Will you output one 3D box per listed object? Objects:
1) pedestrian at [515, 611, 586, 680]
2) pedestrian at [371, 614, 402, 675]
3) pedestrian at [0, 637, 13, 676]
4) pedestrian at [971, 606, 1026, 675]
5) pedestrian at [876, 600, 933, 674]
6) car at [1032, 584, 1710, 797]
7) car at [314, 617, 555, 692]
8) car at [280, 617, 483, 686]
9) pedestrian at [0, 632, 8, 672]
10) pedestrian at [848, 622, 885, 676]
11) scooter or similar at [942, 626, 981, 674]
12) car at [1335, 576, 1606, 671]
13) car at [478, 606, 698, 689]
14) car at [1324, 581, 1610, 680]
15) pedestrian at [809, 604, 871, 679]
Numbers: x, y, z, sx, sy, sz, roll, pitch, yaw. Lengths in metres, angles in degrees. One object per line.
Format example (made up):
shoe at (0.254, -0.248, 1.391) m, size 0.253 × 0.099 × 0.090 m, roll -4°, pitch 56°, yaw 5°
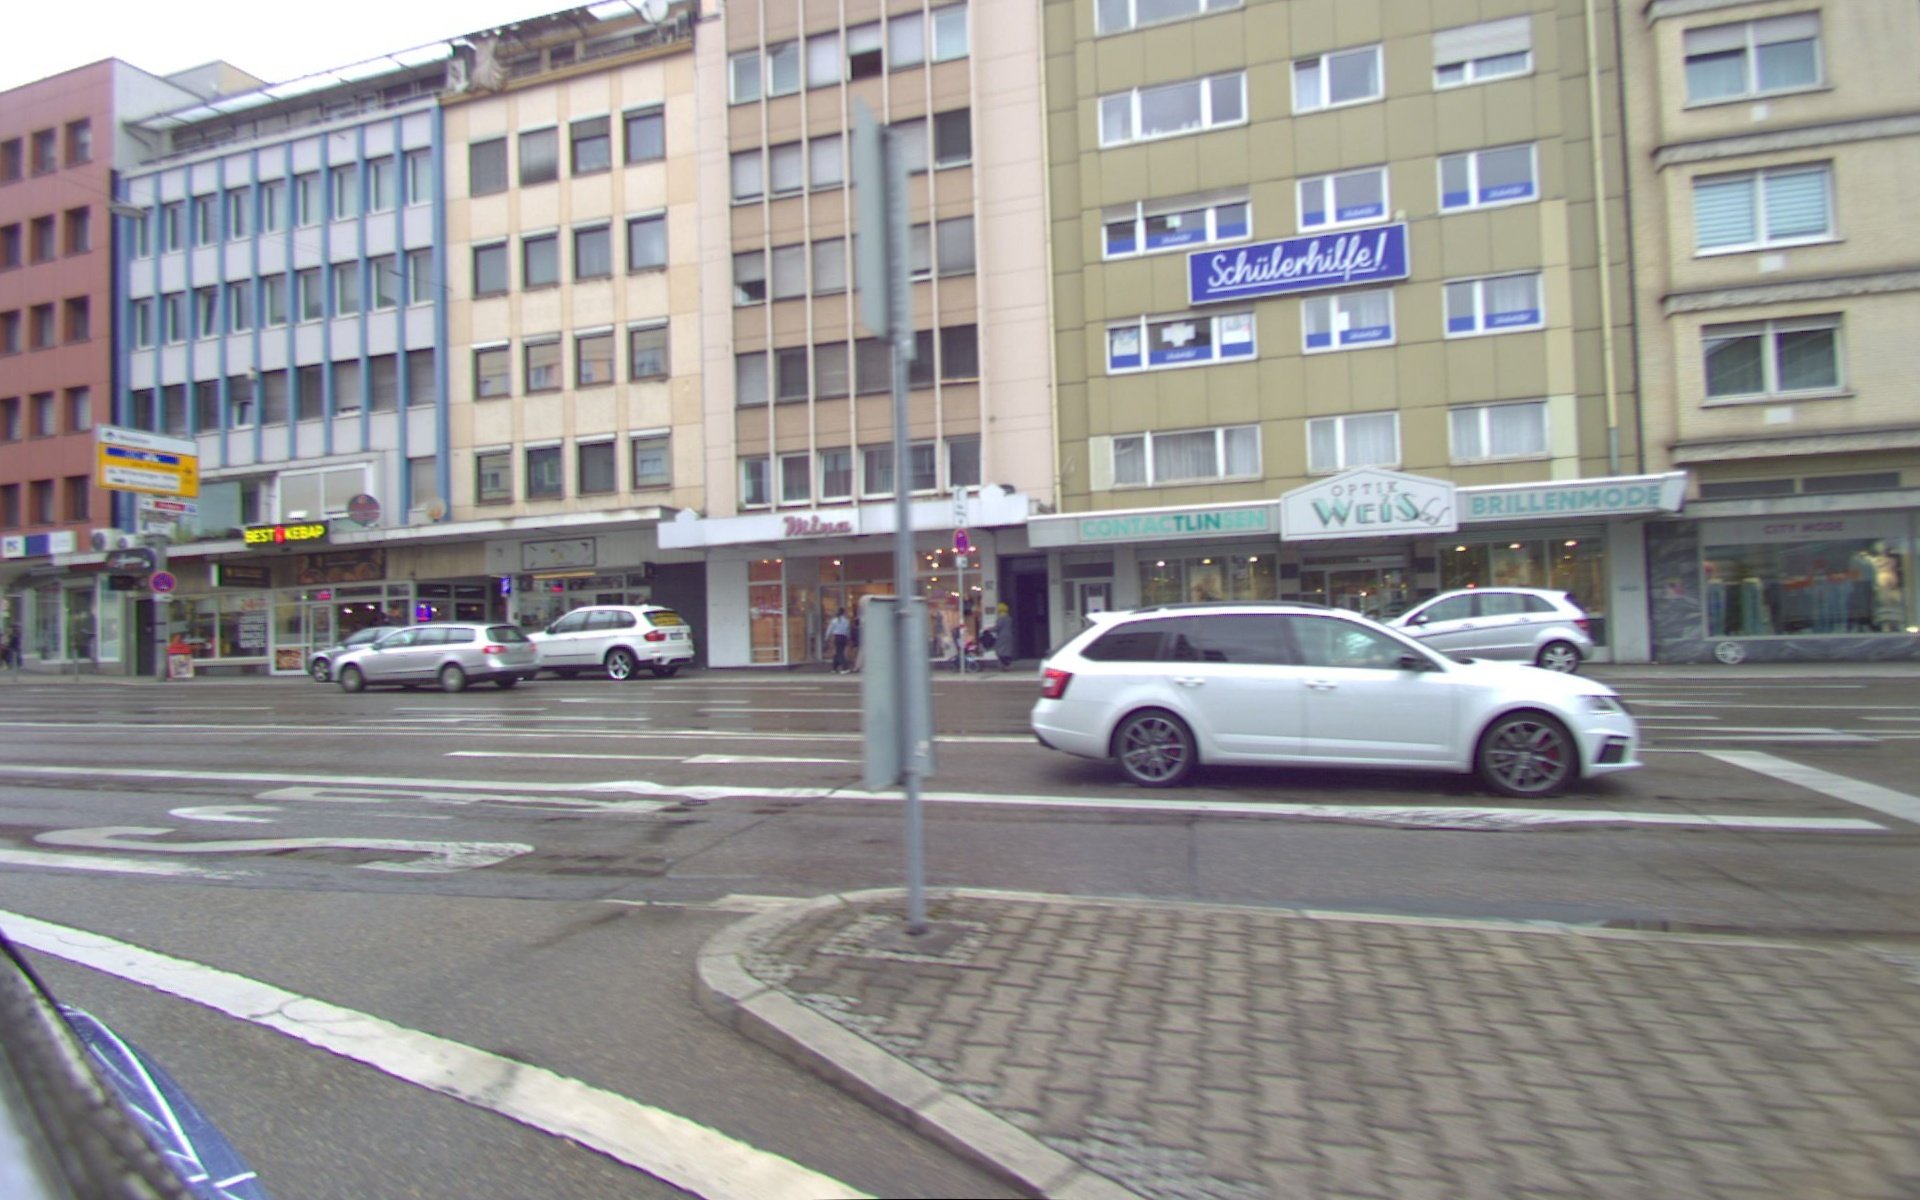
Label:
pedestrian at (-10.809, 1.189, 26.743) m, size 1.406 × 1.731 × 0.950 m, roll -3°, pitch 0°, yaw 16°
pedestrian at (-16.545, 1.269, 29.183) m, size 0.579 × 1.721 × 0.444 m, roll -3°, pitch 0°, yaw 18°
pedestrian at (-41.209, 2.425, 43.273) m, size 0.683 × 1.642 × 0.735 m, roll -3°, pitch 0°, yaw -9°
pedestrian at (0.884, 0.906, 22.927) m, size 1.055 × 1.495 × 0.665 m, roll -3°, pitch 0°, yaw 16°
pedestrian at (-1.334, 0.887, 24.464) m, size 1.077 × 1.708 × 0.950 m, roll -3°, pitch 0°, yaw 16°
car at (3.042, 0.694, 8.309) m, size 4.591 × 1.426 × 1.788 m, roll -2°, pitch -1°, yaw 17°
car at (-11.468, 1.181, 22.162) m, size 4.709 × 1.457 × 1.783 m, roll -2°, pitch -1°, yaw 15°
car at (-15.073, 1.343, 26.381) m, size 4.840 × 1.620 × 1.860 m, roll -2°, pitch -1°, yaw 18°
pedestrian at (-42.386, 2.308, 44.308) m, size 0.721 × 1.761 × 0.745 m, roll -3°, pitch 0°, yaw -12°
pedestrian at (-2.310, 1.202, 24.942) m, size 0.714 × 1.259 × 0.533 m, roll -3°, pitch 0°, yaw 16°
scooter or similar at (0.040, 1.143, 23.171) m, size 0.695 × 1.062 × 0.735 m, roll -1°, pitch 0°, yaw 16°
car at (9.139, 0.442, 18.512) m, size 4.169 × 1.575 × 1.695 m, roll -2°, pitch -1°, yaw 19°
car at (-8.973, 1.132, 24.438) m, size 4.923 × 1.841 × 1.844 m, roll -2°, pitch -1°, yaw 18°
car at (9.118, 0.549, 18.619) m, size 4.362 × 1.562 × 1.844 m, roll -3°, pitch 0°, yaw 17°
pedestrian at (-2.911, 1.000, 24.584) m, size 1.084 × 1.727 × 0.947 m, roll -3°, pitch 0°, yaw 26°
